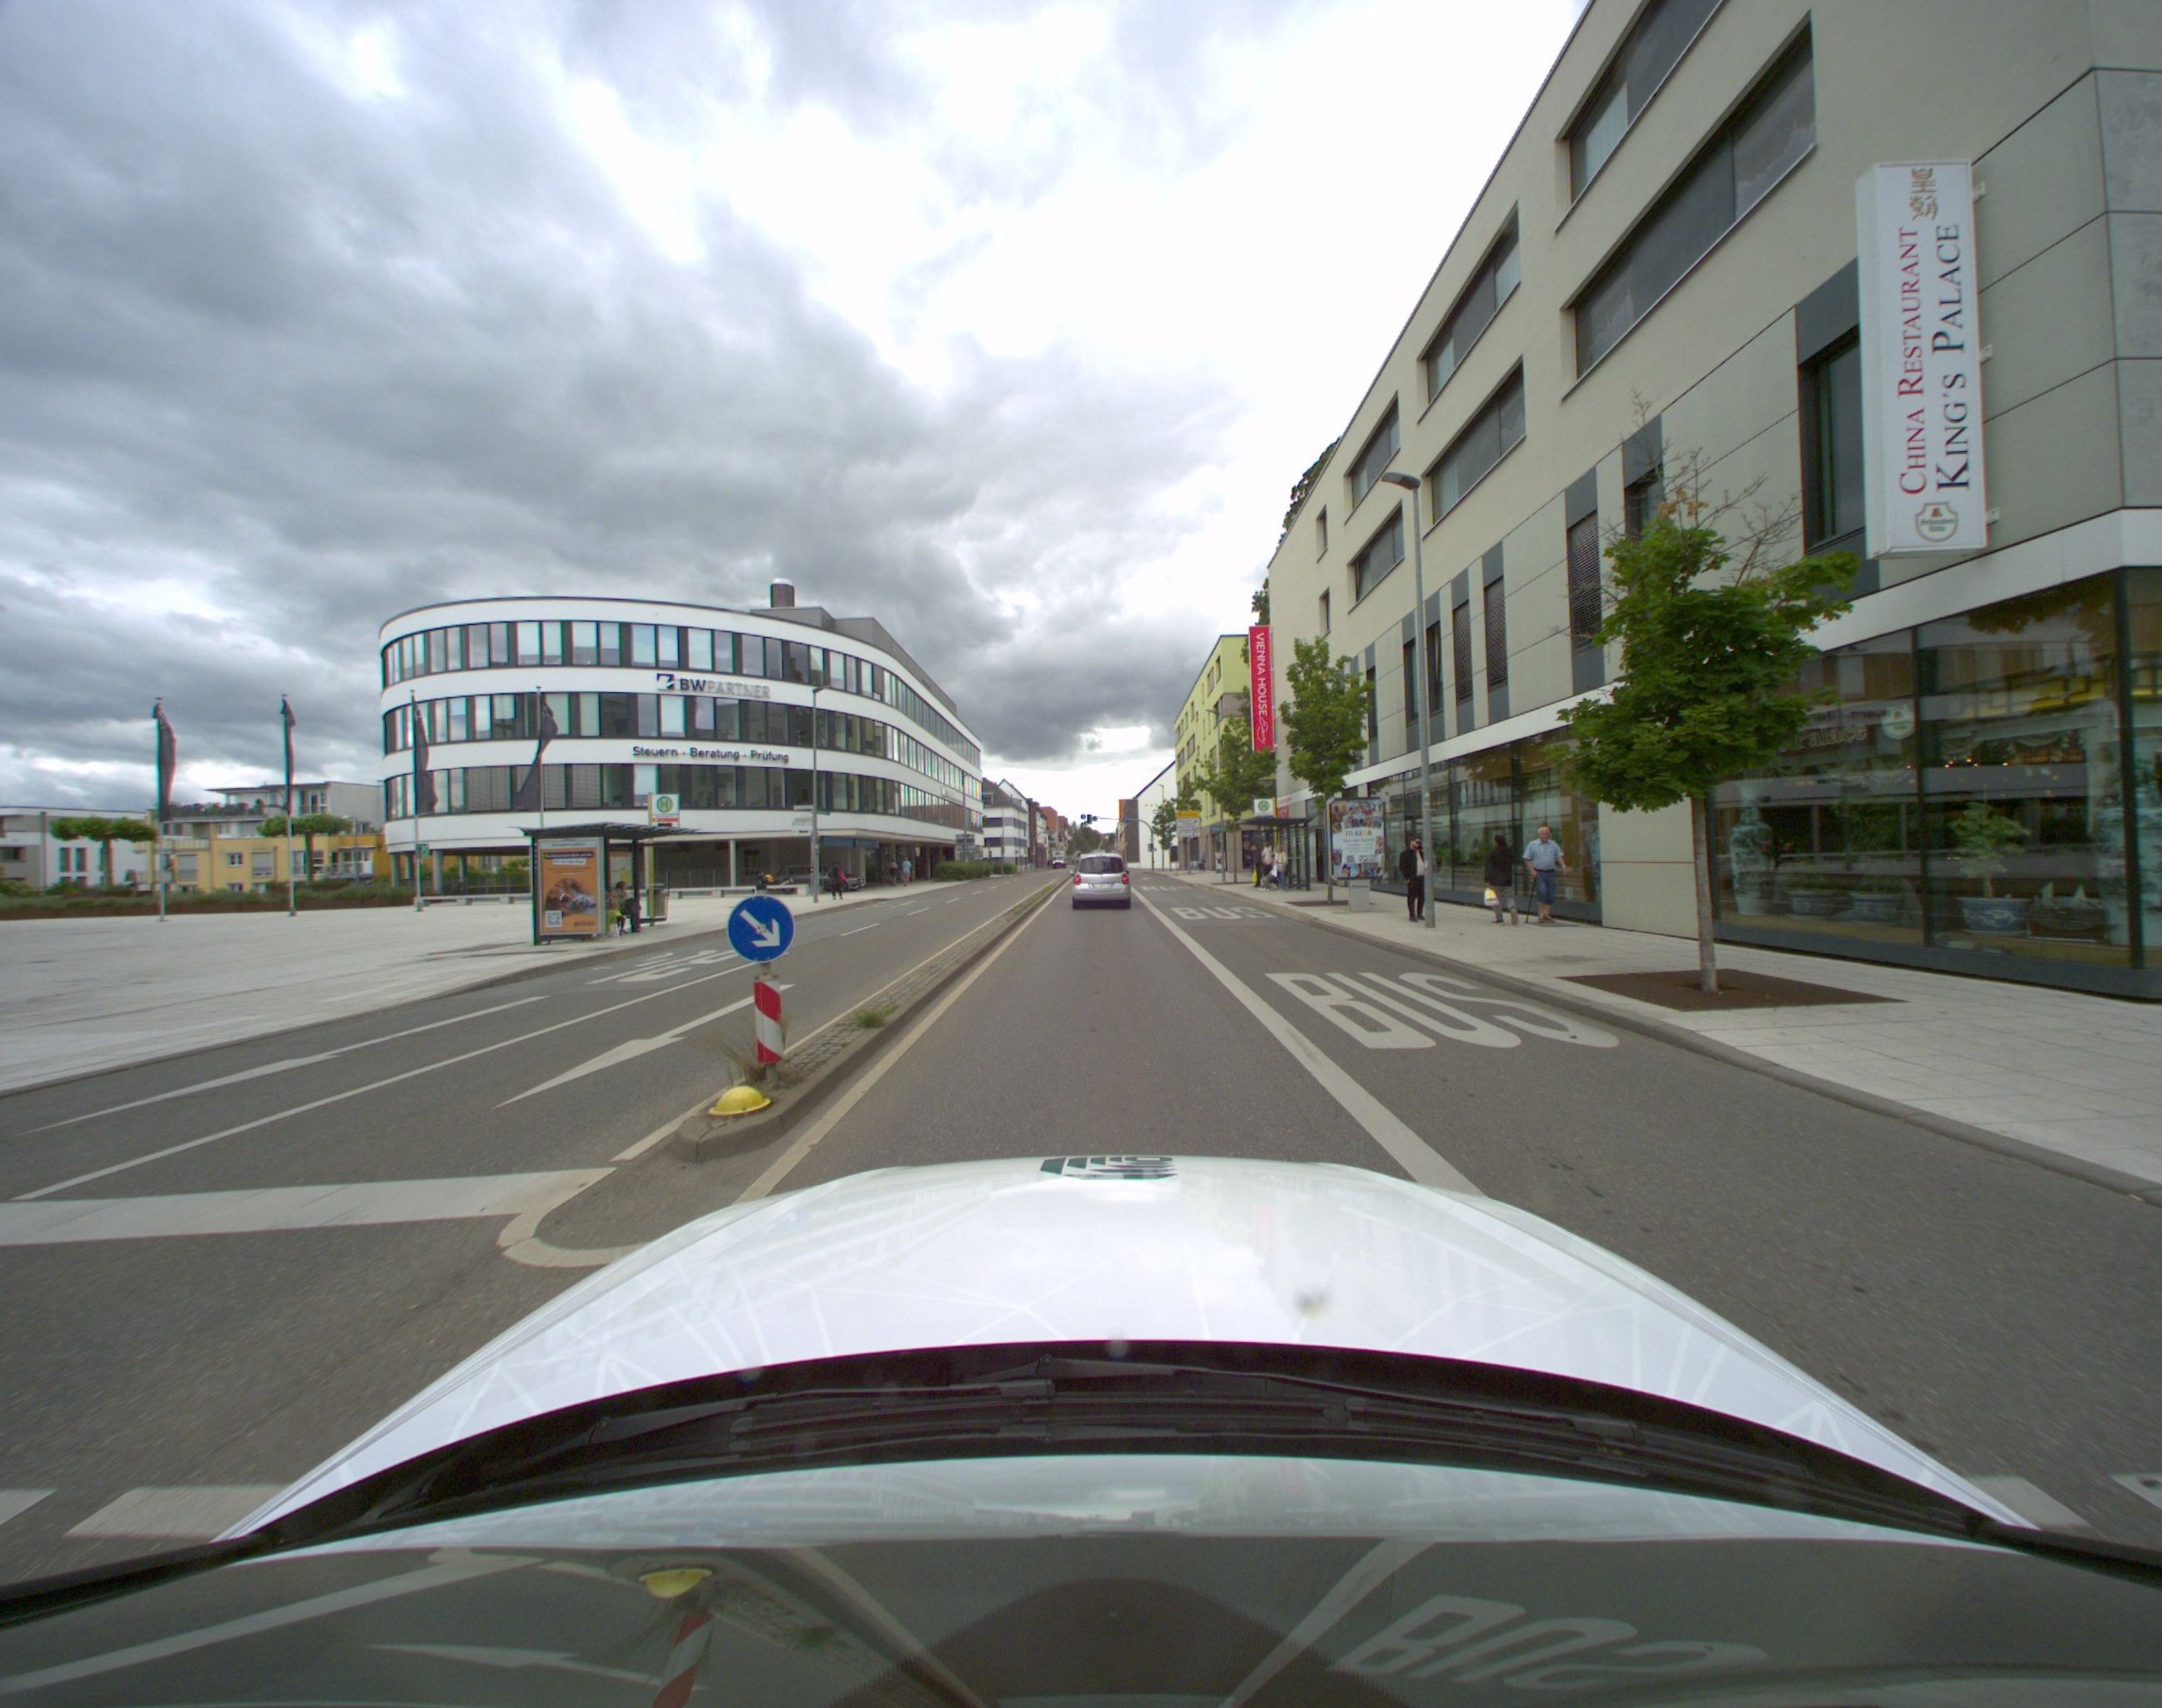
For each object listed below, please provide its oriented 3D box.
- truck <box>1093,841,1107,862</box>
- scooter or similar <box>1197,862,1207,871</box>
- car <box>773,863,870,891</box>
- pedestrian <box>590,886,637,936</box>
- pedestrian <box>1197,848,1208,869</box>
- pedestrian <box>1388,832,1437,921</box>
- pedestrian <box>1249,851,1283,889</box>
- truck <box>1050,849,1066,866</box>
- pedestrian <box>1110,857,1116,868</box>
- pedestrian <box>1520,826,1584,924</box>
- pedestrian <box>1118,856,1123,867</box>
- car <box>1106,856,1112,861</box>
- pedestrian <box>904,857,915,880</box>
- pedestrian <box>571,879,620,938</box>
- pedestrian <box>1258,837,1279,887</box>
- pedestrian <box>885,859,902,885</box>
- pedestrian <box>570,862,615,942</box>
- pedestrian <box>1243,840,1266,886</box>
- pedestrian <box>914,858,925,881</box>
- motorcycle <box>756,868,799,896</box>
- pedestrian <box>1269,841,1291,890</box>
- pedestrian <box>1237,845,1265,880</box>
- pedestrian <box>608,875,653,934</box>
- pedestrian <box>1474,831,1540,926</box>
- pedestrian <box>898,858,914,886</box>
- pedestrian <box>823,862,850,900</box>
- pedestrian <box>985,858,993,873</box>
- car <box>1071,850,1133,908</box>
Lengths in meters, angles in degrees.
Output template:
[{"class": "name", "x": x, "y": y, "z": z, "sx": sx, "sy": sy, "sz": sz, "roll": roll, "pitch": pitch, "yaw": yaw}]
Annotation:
[{"class": "truck", "x": 3.606, "y": -0.413, "z": 155.174, "sx": 2.586, "sy": 3.857, "sz": 6.851, "roll": -1, "pitch": 0, "yaw": 2}, {"class": "scooter or similar", "x": 9.041, "y": 0.941, "z": 61.062, "sx": 0.590, "sy": 0.673, "sz": 0.824, "roll": -3, "pitch": 0, "yaw": 0}, {"class": "car", "x": -13.728, "y": 1.196, "z": 43.210, "sx": 4.433, "sy": 1.415, "sz": 1.906, "roll": 0, "pitch": 0, "yaw": 6}, {"class": "pedestrian", "x": -10.693, "y": 1.300, "z": 18.650, "sx": 0.682, "sy": 1.075, "sz": 0.576, "roll": -4, "pitch": 0, "yaw": -1}, {"class": "pedestrian", "x": 9.209, "y": 0.339, "z": 61.782, "sx": 0.693, "sy": 1.593, "sz": 0.603, "roll": -3, "pitch": 0, "yaw": 0}, {"class": "pedestrian", "x": 6.415, "y": 0.431, "z": 15.790, "sx": 0.652, "sy": 1.669, "sz": 0.614, "roll": -2, "pitch": 0, "yaw": 1}, {"class": "pedestrian", "x": 6.475, "y": 0.545, "z": 28.513, "sx": 0.940, "sy": 1.259, "sz": 0.732, "roll": -3, "pitch": -1, "yaw": -2}, {"class": "truck", "x": -3.920, "y": 0.605, "z": 140.841, "sx": 2.426, "sy": 2.953, "sz": 8.366, "roll": -1, "pitch": 0, "yaw": 1}, {"class": "pedestrian", "x": 5.317, "y": 1.439, "z": 135.197, "sx": 0.886, "sy": 1.787, "sz": 0.785, "roll": -4, "pitch": 0, "yaw": 1}, {"class": "pedestrian", "x": 8.355, "y": 0.364, "z": 14.478, "sx": 0.741, "sy": 1.669, "sz": 0.614, "roll": -2, "pitch": 0, "yaw": 1}, {"class": "pedestrian", "x": 6.672, "y": 1.188, "z": 137.154, "sx": 0.805, "sy": 1.787, "sz": 0.861, "roll": -4, "pitch": 0, "yaw": 1}, {"class": "car", "x": 8.250, "y": 1.220, "z": 240.673, "sx": 1.806, "sy": 1.354, "sz": 4.002, "roll": -2, "pitch": 0, "yaw": 2}, {"class": "pedestrian", "x": -13.023, "y": 1.077, "z": 61.967, "sx": 0.500, "sy": 1.730, "sz": 0.619, "roll": -2, "pitch": -1, "yaw": 32}, {"class": "pedestrian", "x": -10.745, "y": 1.196, "z": 18.026, "sx": 0.682, "sy": 1.253, "sz": 0.576, "roll": -2, "pitch": 0, "yaw": -1}, {"class": "pedestrian", "x": 6.821, "y": 0.279, "z": 29.720, "sx": 0.576, "sy": 1.769, "sz": 0.858, "roll": -3, "pitch": -1, "yaw": 6}, {"class": "pedestrian", "x": -11.611, "y": 1.094, "z": 50.439, "sx": 0.727, "sy": 1.613, "sz": 0.932, "roll": 0, "pitch": 0, "yaw": 3}, {"class": "pedestrian", "x": -10.440, "y": 1.010, "z": 17.415, "sx": 0.690, "sy": 1.631, "sz": 0.569, "roll": -3, "pitch": -1, "yaw": -40}, {"class": "pedestrian", "x": 6.582, "y": 0.348, "z": 30.921, "sx": 0.717, "sy": 1.683, "sz": 0.734, "roll": -3, "pitch": -1, "yaw": 6}, {"class": "pedestrian", "x": -12.213, "y": 1.136, "z": 61.538, "sx": 0.617, "sy": 1.710, "sz": 0.501, "roll": -2, "pitch": -1, "yaw": -30}, {"class": "motorcycle", "x": -14.709, "y": 1.340, "z": 39.433, "sx": 1.846, "sy": 1.333, "sz": 0.637, "roll": 0, "pitch": 0, "yaw": 4}, {"class": "pedestrian", "x": 6.652, "y": 0.383, "z": 27.265, "sx": 0.576, "sy": 1.591, "sz": 0.734, "roll": -3, "pitch": -1, "yaw": 6}, {"class": "pedestrian", "x": 7.771, "y": 0.382, "z": 37.290, "sx": 0.945, "sy": 1.583, "sz": 1.014, "roll": -2, "pitch": -1, "yaw": -4}, {"class": "pedestrian", "x": -10.683, "y": 1.186, "z": 19.321, "sx": 0.682, "sy": 1.320, "sz": 0.576, "roll": -3, "pitch": 0, "yaw": -1}, {"class": "pedestrian", "x": 7.487, "y": 0.427, "z": 14.342, "sx": 0.738, "sy": 1.608, "sz": 0.715, "roll": -2, "pitch": 0, "yaw": 1}, {"class": "pedestrian", "x": -10.652, "y": 1.068, "z": 49.503, "sx": 0.727, "sy": 1.674, "sz": 0.932, "roll": 0, "pitch": 0, "yaw": 3}, {"class": "pedestrian", "x": -10.283, "y": 1.114, "z": 34.220, "sx": 0.826, "sy": 1.567, "sz": 0.814, "roll": 0, "pitch": 0, "yaw": 6}, {"class": "pedestrian", "x": -10.725, "y": 1.365, "z": 95.044, "sx": 0.879, "sy": 1.669, "sz": 0.813, "roll": -2, "pitch": 2, "yaw": -3}, {"class": "car", "x": 0.625, "y": 0.698, "z": 24.333, "sx": 1.700, "sy": 1.579, "sz": 4.001, "roll": 0, "pitch": 0, "yaw": 1}]
